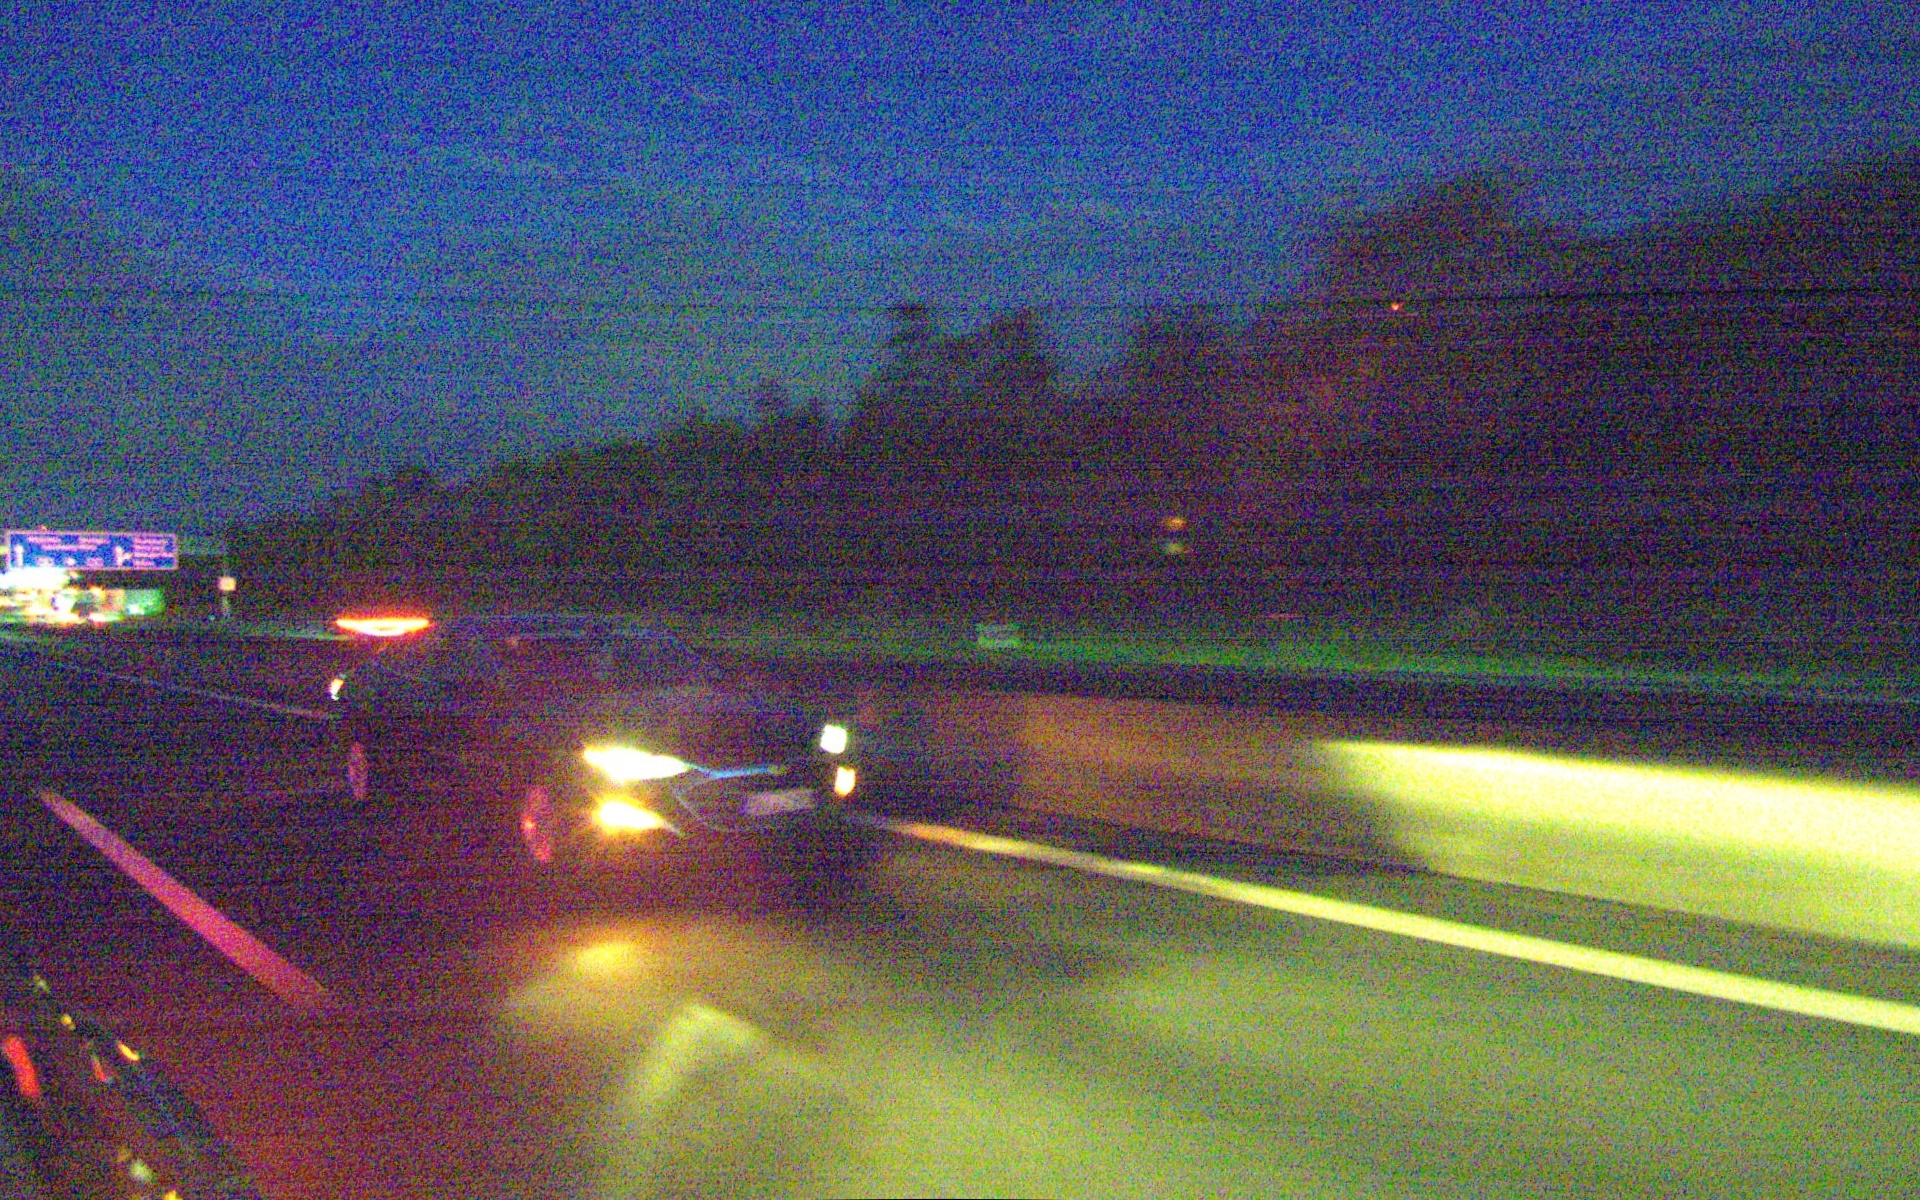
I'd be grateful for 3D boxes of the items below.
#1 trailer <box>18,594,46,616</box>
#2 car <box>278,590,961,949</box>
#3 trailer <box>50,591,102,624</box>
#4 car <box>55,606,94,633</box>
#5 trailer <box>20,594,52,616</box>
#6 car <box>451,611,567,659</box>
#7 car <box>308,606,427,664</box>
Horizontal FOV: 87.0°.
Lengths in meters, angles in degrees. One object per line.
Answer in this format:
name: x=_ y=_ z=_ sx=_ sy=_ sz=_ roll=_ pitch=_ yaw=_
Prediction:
trailer: x=-178.854 y=0.971 z=194.993 sx=7.353 sy=4.010 sz=3.392 roll=-1 pitch=-1 yaw=43
car: x=-2.744 y=0.791 z=6.964 sx=5.650 sy=1.530 sz=1.972 roll=-2 pitch=-1 yaw=43
trailer: x=-112.427 y=0.983 z=128.557 sx=13.808 sy=4.010 sz=3.393 roll=-1 pitch=0 yaw=42
car: x=-84.859 y=1.875 z=96.977 sx=6.214 sy=2.537 sz=2.079 roll=-1 pitch=-1 yaw=42
trailer: x=-173.351 y=0.911 z=189.793 sx=14.049 sy=4.010 sz=3.392 roll=-1 pitch=-1 yaw=43
car: x=-15.238 y=1.142 z=34.111 sx=4.206 sy=1.478 sz=1.990 roll=-1 pitch=-1 yaw=41
car: x=-18.555 y=1.054 z=31.598 sx=4.482 sy=1.682 sz=1.989 roll=-1 pitch=-1 yaw=42
